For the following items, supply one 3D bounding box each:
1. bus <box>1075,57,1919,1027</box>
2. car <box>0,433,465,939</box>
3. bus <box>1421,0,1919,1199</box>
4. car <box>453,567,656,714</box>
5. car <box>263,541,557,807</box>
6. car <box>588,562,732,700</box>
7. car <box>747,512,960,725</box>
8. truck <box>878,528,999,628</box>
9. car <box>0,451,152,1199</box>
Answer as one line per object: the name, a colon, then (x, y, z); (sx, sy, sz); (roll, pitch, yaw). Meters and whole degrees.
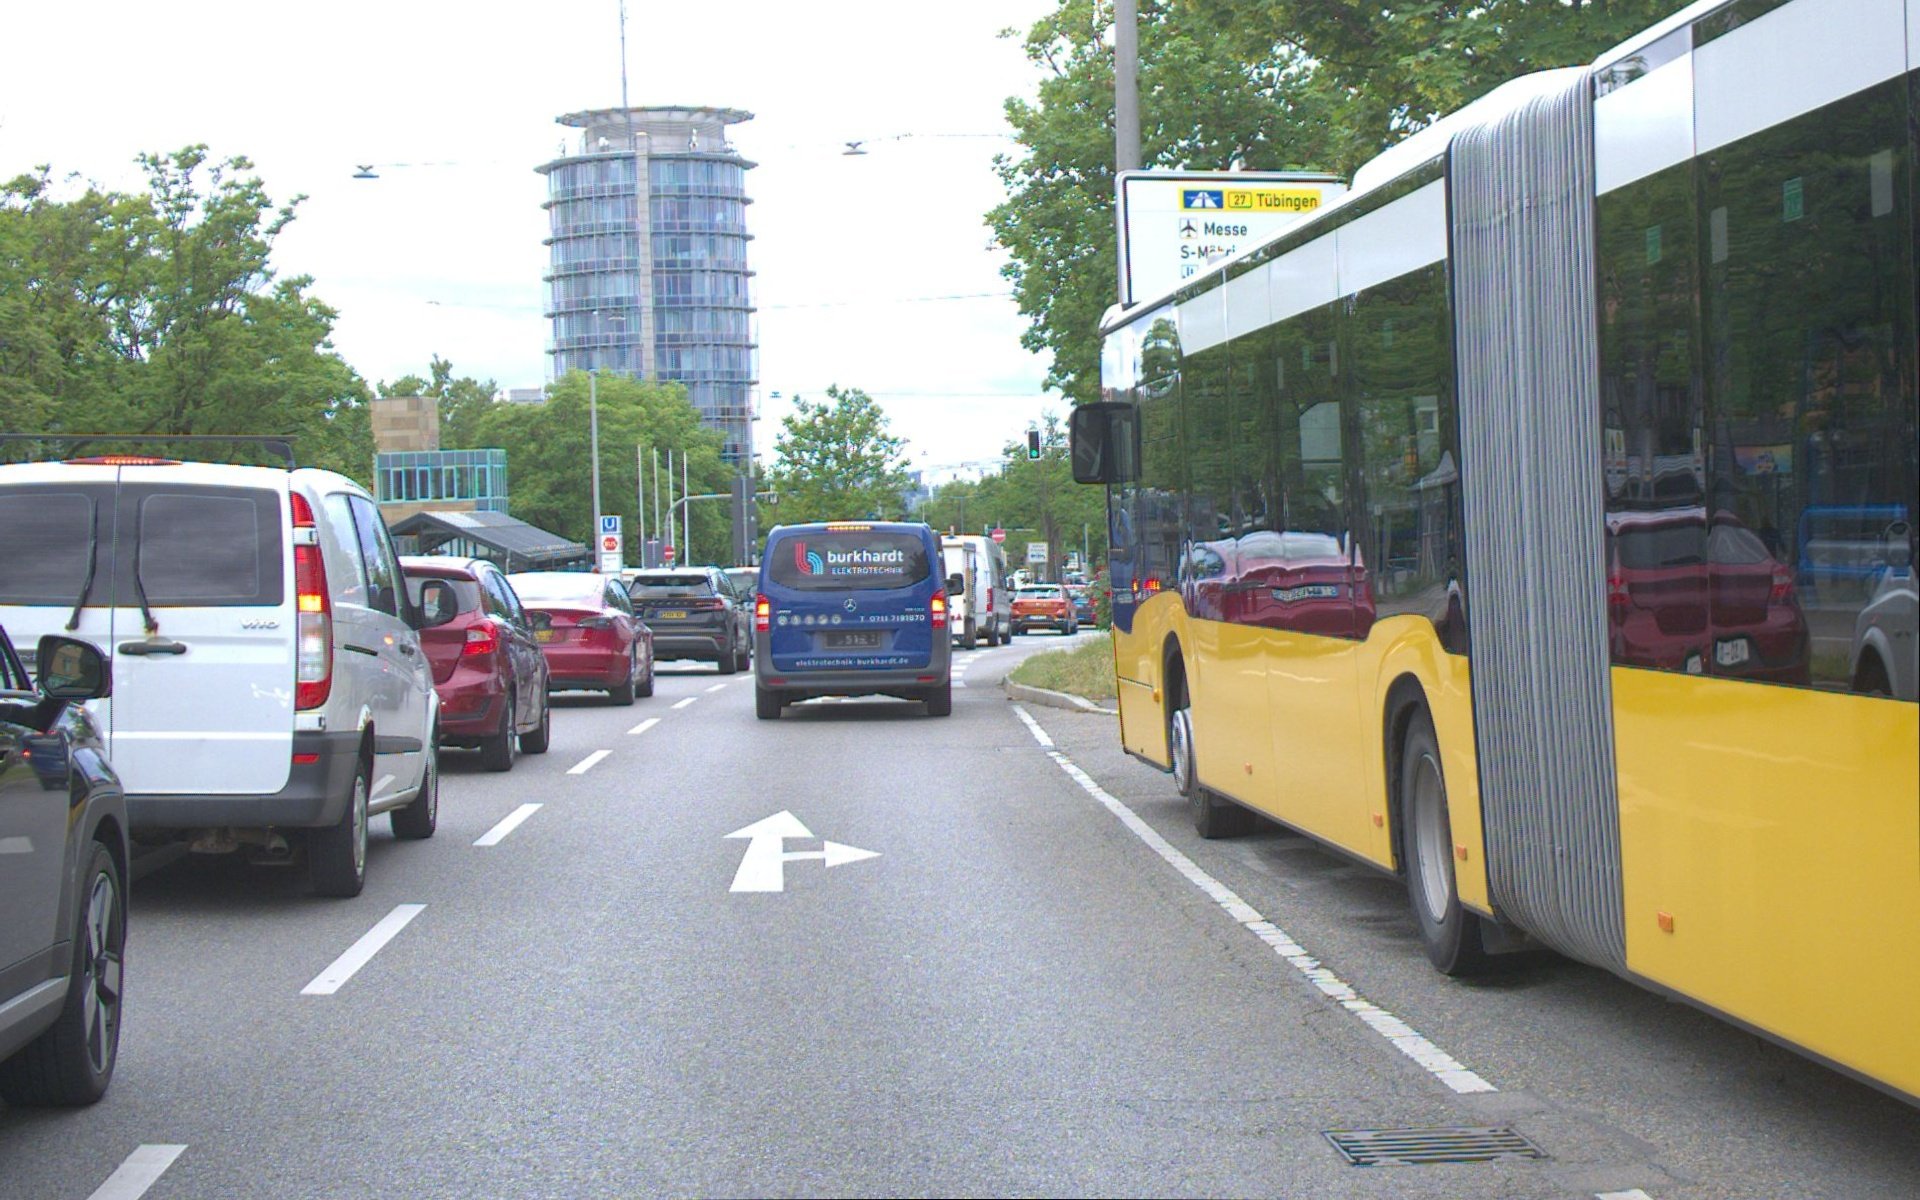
bus: (2.501, -0.293, 16.005); (2.712, 3.153, 9.129); (-2, 1, -5)
car: (-3.629, 0.313, 16.475); (1.873, 2.007, 5.076); (-2, 1, -2)
bus: (3.238, -0.249, 6.997); (2.712, 3.098, 8.871); (-2, 1, -4)
car: (-4.422, 0.457, 37.955); (1.868, 1.481, 4.000); (-2, -1, -2)
car: (-3.985, 0.519, 25.469); (1.746, 1.718, 4.000); (-3, 0, -5)
car: (-4.583, 0.435, 53.011); (1.993, 2.007, 4.000); (0, 1, -2)
car: (-1.064, 0.174, 34.213); (1.947, 1.959, 4.542); (-1, 0, -2)
truck: (-0.437, -0.480, 77.421); (1.994, 2.158, 5.557); (0, 0, 7)
car: (-3.137, 0.527, 7.598); (1.922, 1.745, 4.679); (1, 1, -4)
